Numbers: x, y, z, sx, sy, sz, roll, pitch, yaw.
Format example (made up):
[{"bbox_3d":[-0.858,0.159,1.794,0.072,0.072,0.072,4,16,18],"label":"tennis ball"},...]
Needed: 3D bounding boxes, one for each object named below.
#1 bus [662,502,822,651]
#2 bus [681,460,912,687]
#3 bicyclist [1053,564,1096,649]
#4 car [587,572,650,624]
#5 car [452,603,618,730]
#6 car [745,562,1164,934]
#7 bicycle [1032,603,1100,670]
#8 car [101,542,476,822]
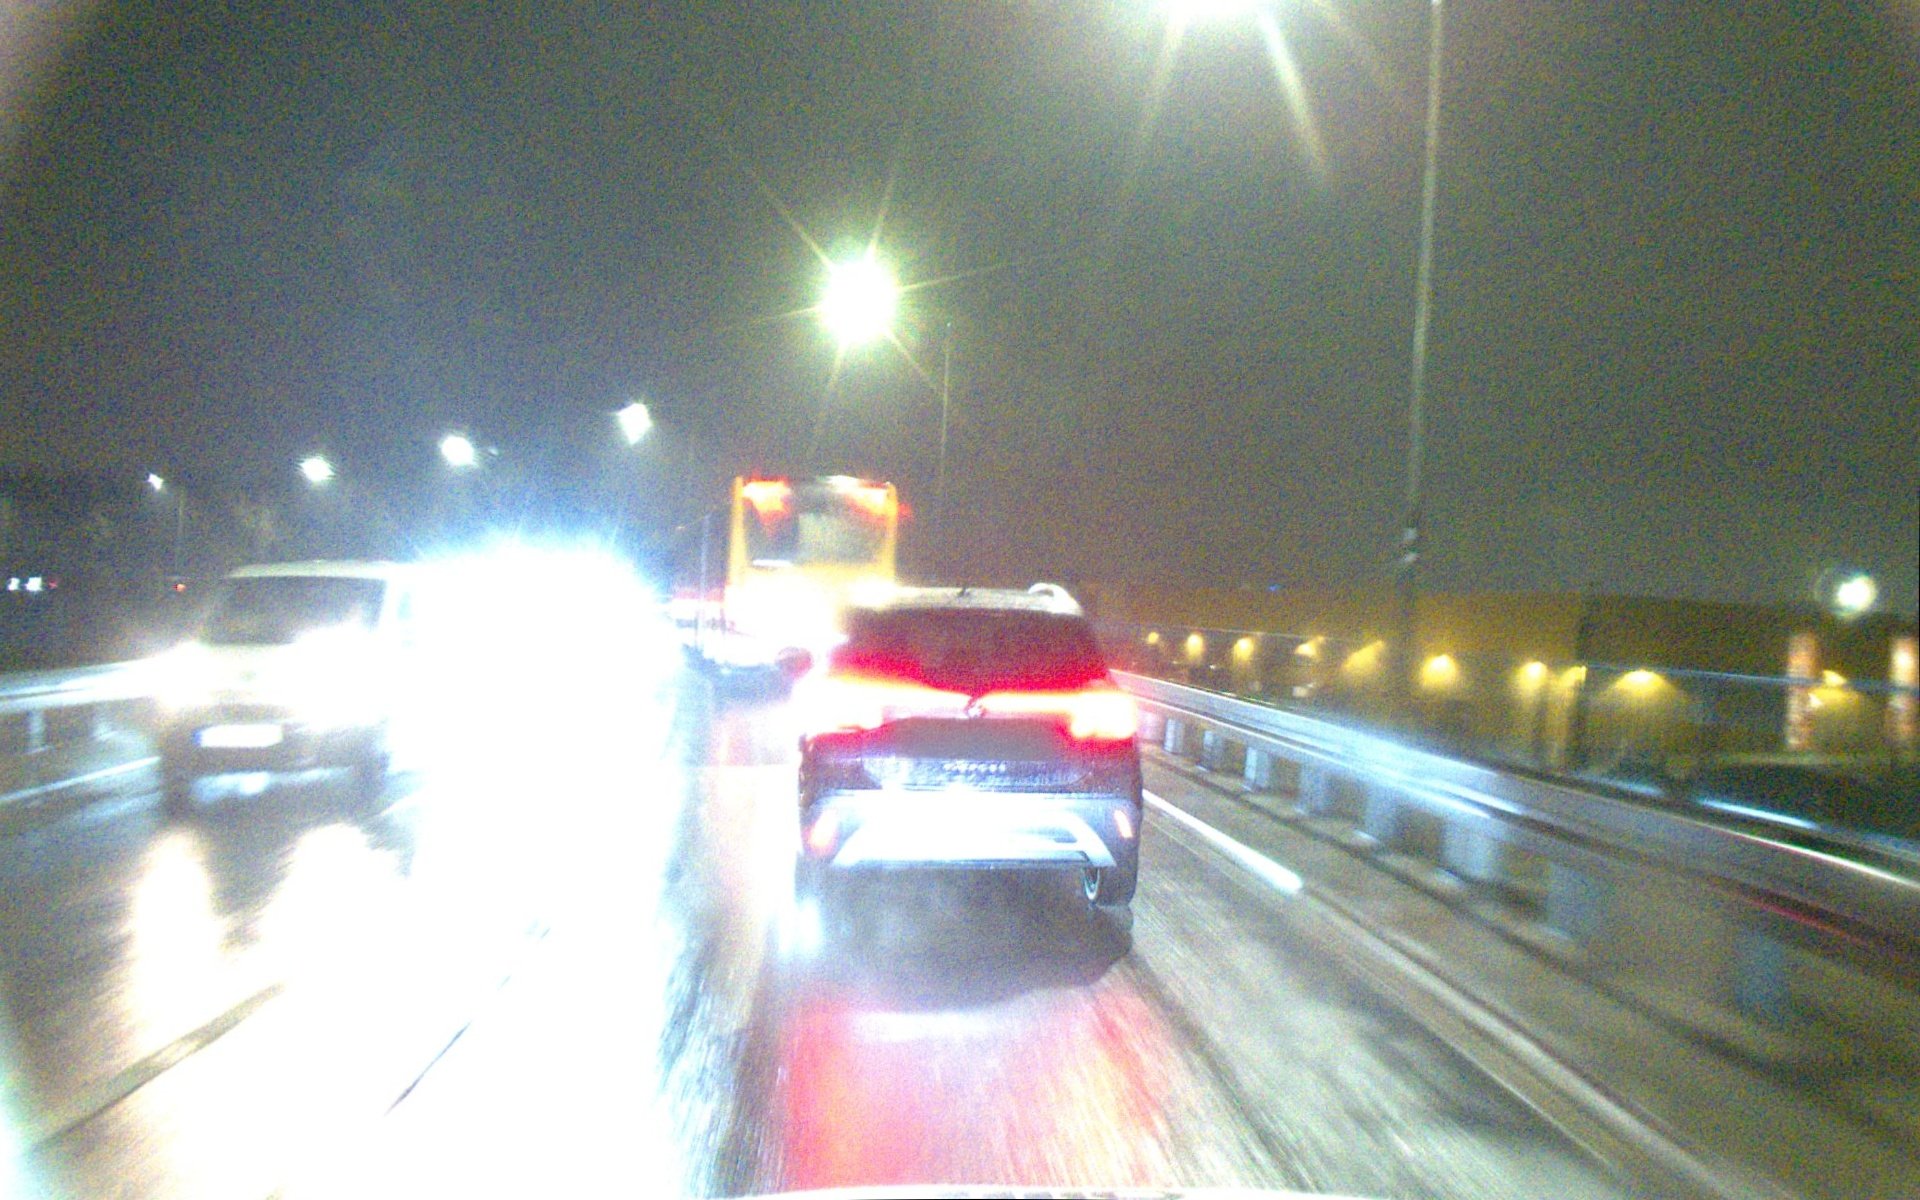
[{"bbox_3d":[-5.409,-0.754,39.804,2.996,3.185,8.054,-1,4,-13],"label":"bus"},{"bbox_3d":[-3.352,-0.489,29.740,3.028,3.187,12.664,0,1,-11],"label":"bus"},{"bbox_3d":[1.873,0.097,27.186,0.445,1.373,0.761,1,0,-16],"label":"bicyclist"},{"bbox_3d":[-12.075,-0.056,58.353,1.613,1.684,3.687,-2,0,-21],"label":"car"},{"bbox_3d":[-6.588,0.951,26.166,1.984,1.749,4.973,0,1,-8],"label":"car"},{"bbox_3d":[-0.083,0.646,9.240,1.818,1.614,3.998,1,0,-2],"label":"car"},{"bbox_3d":[1.756,0.588,27.625,0.476,1.052,2.163,1,0,-14],"label":"bicycle"},{"bbox_3d":[-5.247,0.537,13.511,1.720,1.893,3.995,-2,1,-6],"label":"car"}]
